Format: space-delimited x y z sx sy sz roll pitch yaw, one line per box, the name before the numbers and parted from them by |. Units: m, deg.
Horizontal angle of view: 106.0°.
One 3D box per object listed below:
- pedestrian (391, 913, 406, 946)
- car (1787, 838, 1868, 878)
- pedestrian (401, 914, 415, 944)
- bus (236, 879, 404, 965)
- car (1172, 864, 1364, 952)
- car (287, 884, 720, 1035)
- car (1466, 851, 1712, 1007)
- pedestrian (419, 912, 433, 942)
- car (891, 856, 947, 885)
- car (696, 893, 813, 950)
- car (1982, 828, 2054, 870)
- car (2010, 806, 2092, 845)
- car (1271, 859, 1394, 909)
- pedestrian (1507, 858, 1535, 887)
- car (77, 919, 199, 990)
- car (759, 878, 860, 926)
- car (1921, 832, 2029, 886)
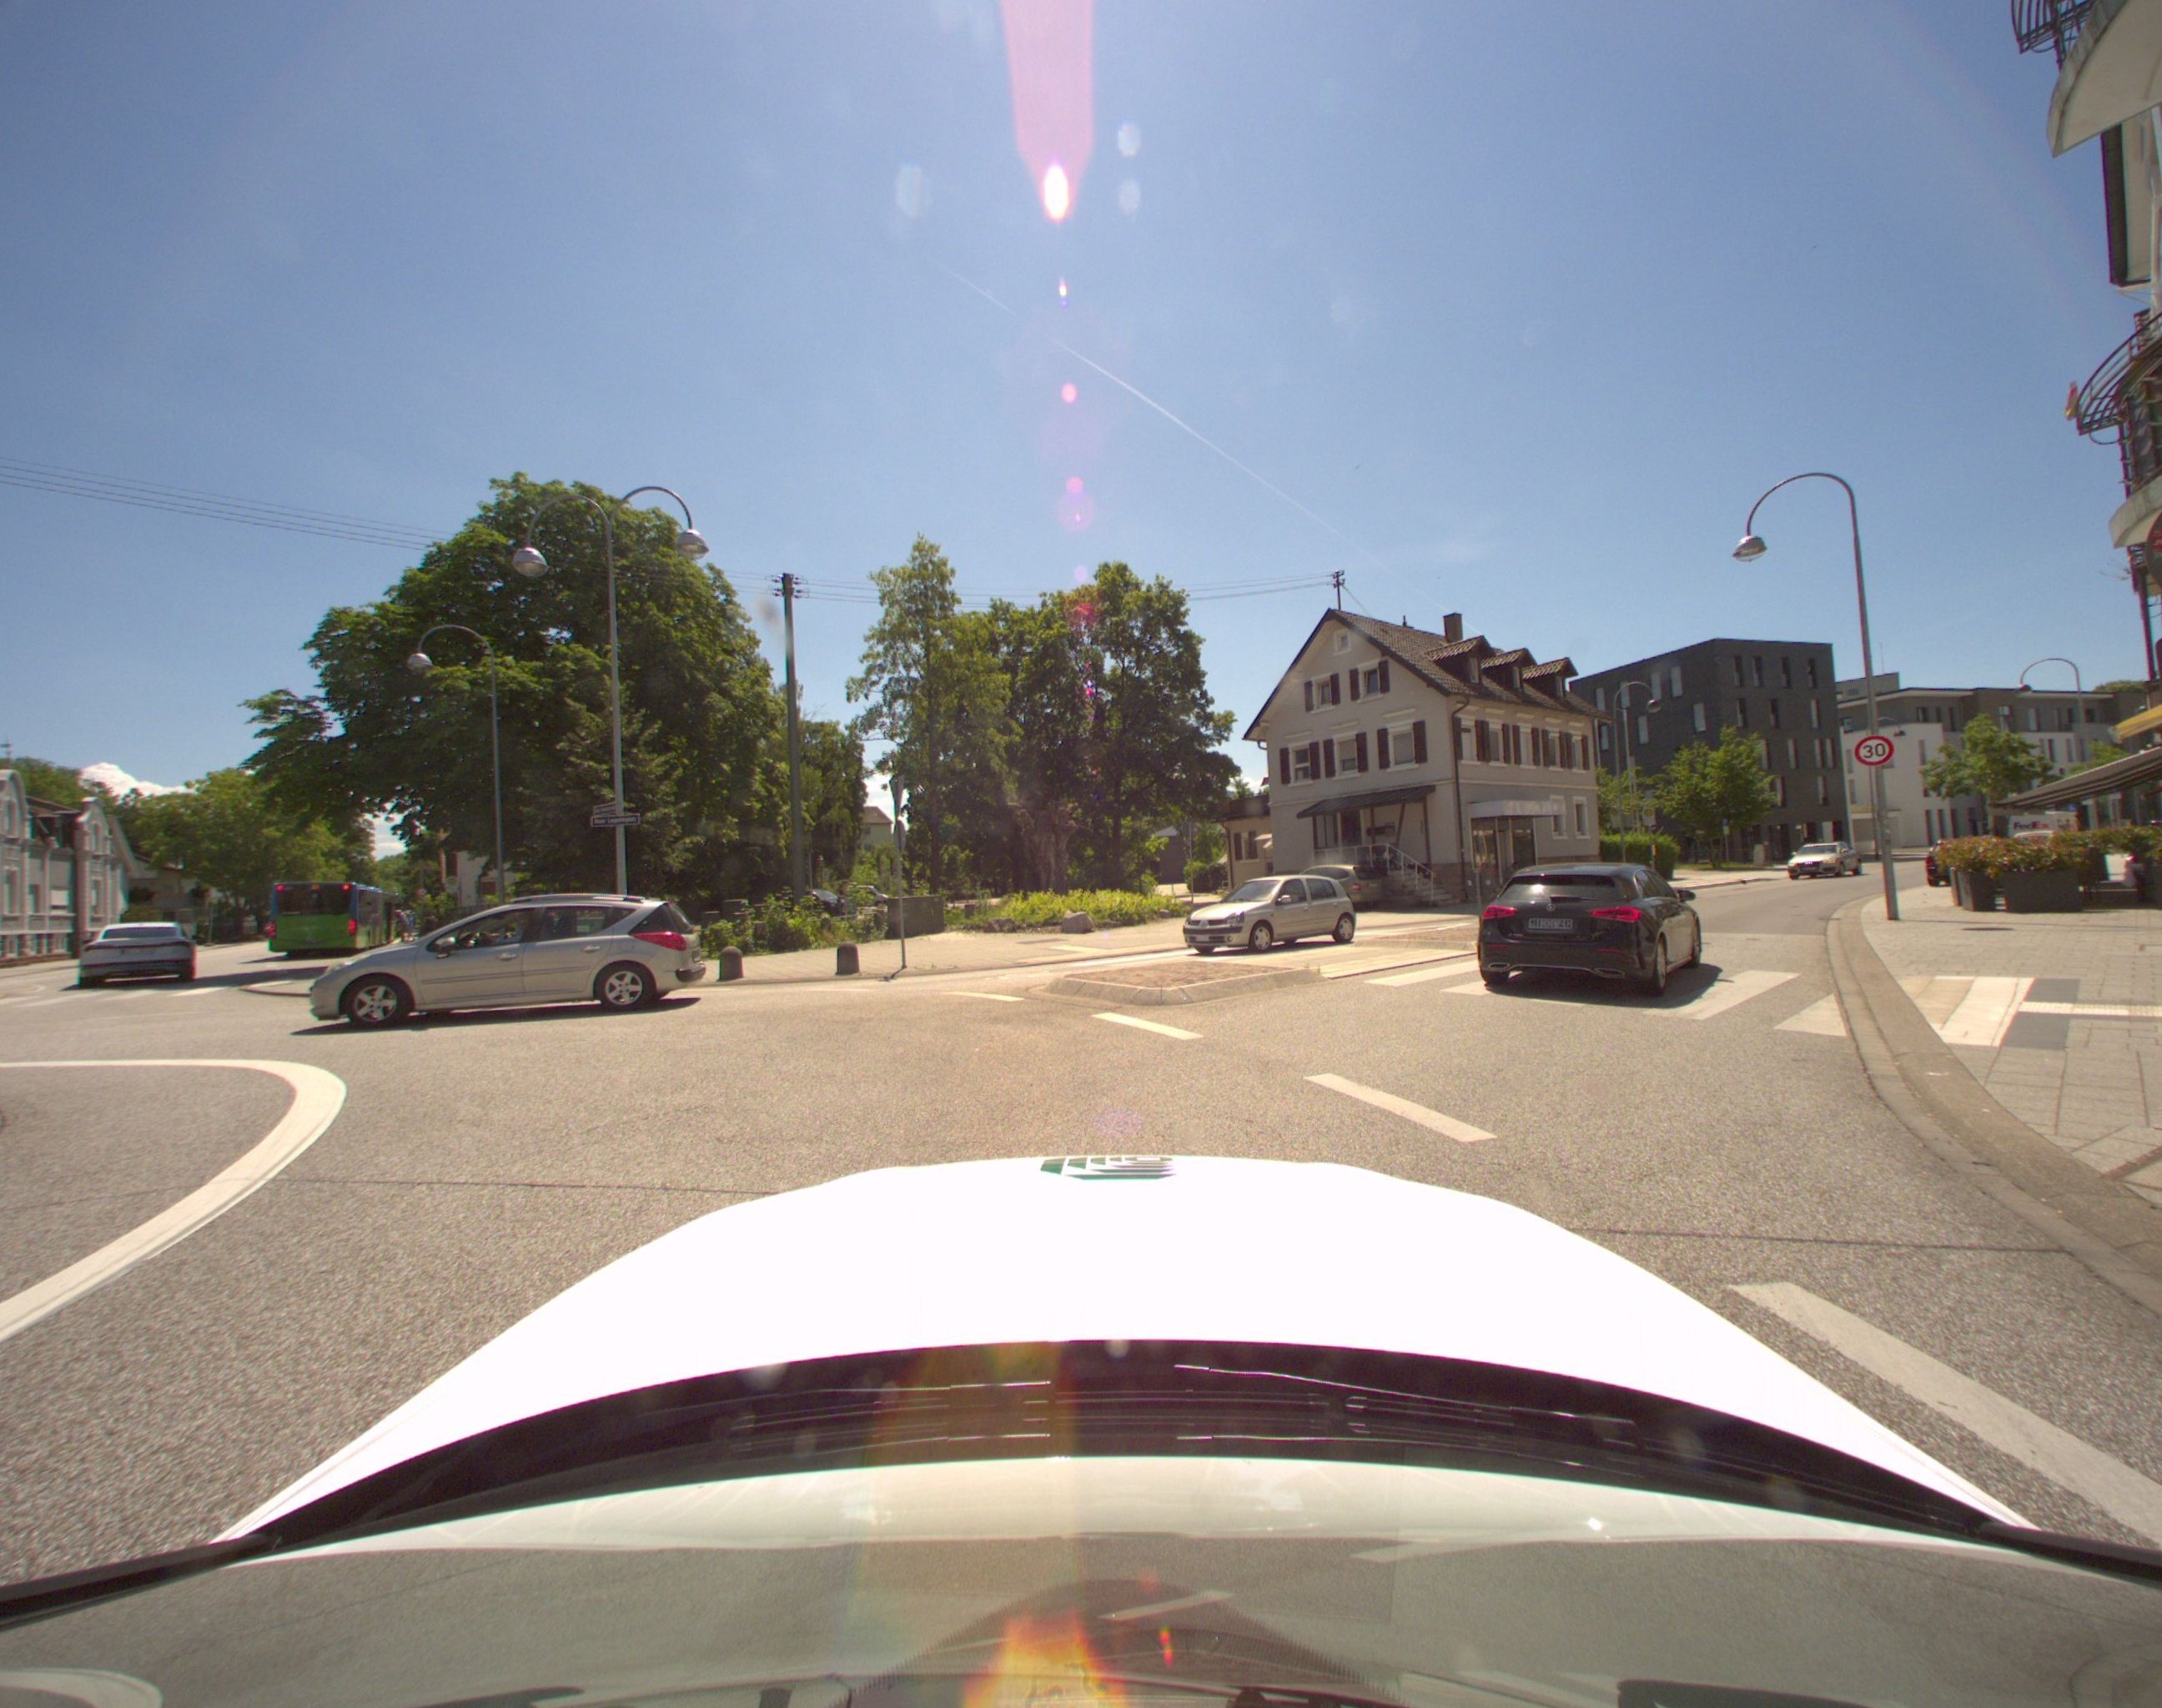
pedestrian | -35.411 3.922 42.262 0.507 1.650 0.572 -1 -2 -43
car | 33.870 0.170 36.941 4.100 1.543 1.662 -2 -4 -34
pedestrian | -35.548 3.947 43.018 0.493 1.522 0.536 -1 -2 -43
bus | -35.626 3.151 39.068 3.735 3.172 17.865 0 -4 -36
car | 3.728 1.022 15.985 3.736 1.413 1.532 -2 -4 -37
car | -7.080 1.248 10.545 4.205 1.517 1.735 -1 -3 -18
car | 6.497 0.736 10.161 1.746 1.457 4.465 -1 0 43
pedestrian | -33.176 3.709 41.254 0.494 1.454 0.524 -1 -2 -43
car | -12.288 1.251 61.926 3.990 2.014 1.992 -3 -1 -12
car | -10.537 2.164 26.430 1.613 1.553 3.079 -4 -1 39
car | 39.097 -0.226 33.970 3.508 1.530 1.593 -2 -4 -37
car | 55.049 -1.605 46.219 4.008 2.014 1.983 -2 -2 -26
car | 9.043 1.110 29.601 1.765 1.640 3.956 -2 -2 -35
pedestrian | 16.706 0.690 30.928 0.703 1.054 0.664 -2 -2 -39
car | -25.526 2.631 22.190 4.353 1.662 1.916 -4 -4 43
car | -12.765 2.245 38.380 3.960 2.014 2.007 -3 -2 12
car | 28.479 0.132 25.919 4.017 1.486 1.736 -2 -3 -35
